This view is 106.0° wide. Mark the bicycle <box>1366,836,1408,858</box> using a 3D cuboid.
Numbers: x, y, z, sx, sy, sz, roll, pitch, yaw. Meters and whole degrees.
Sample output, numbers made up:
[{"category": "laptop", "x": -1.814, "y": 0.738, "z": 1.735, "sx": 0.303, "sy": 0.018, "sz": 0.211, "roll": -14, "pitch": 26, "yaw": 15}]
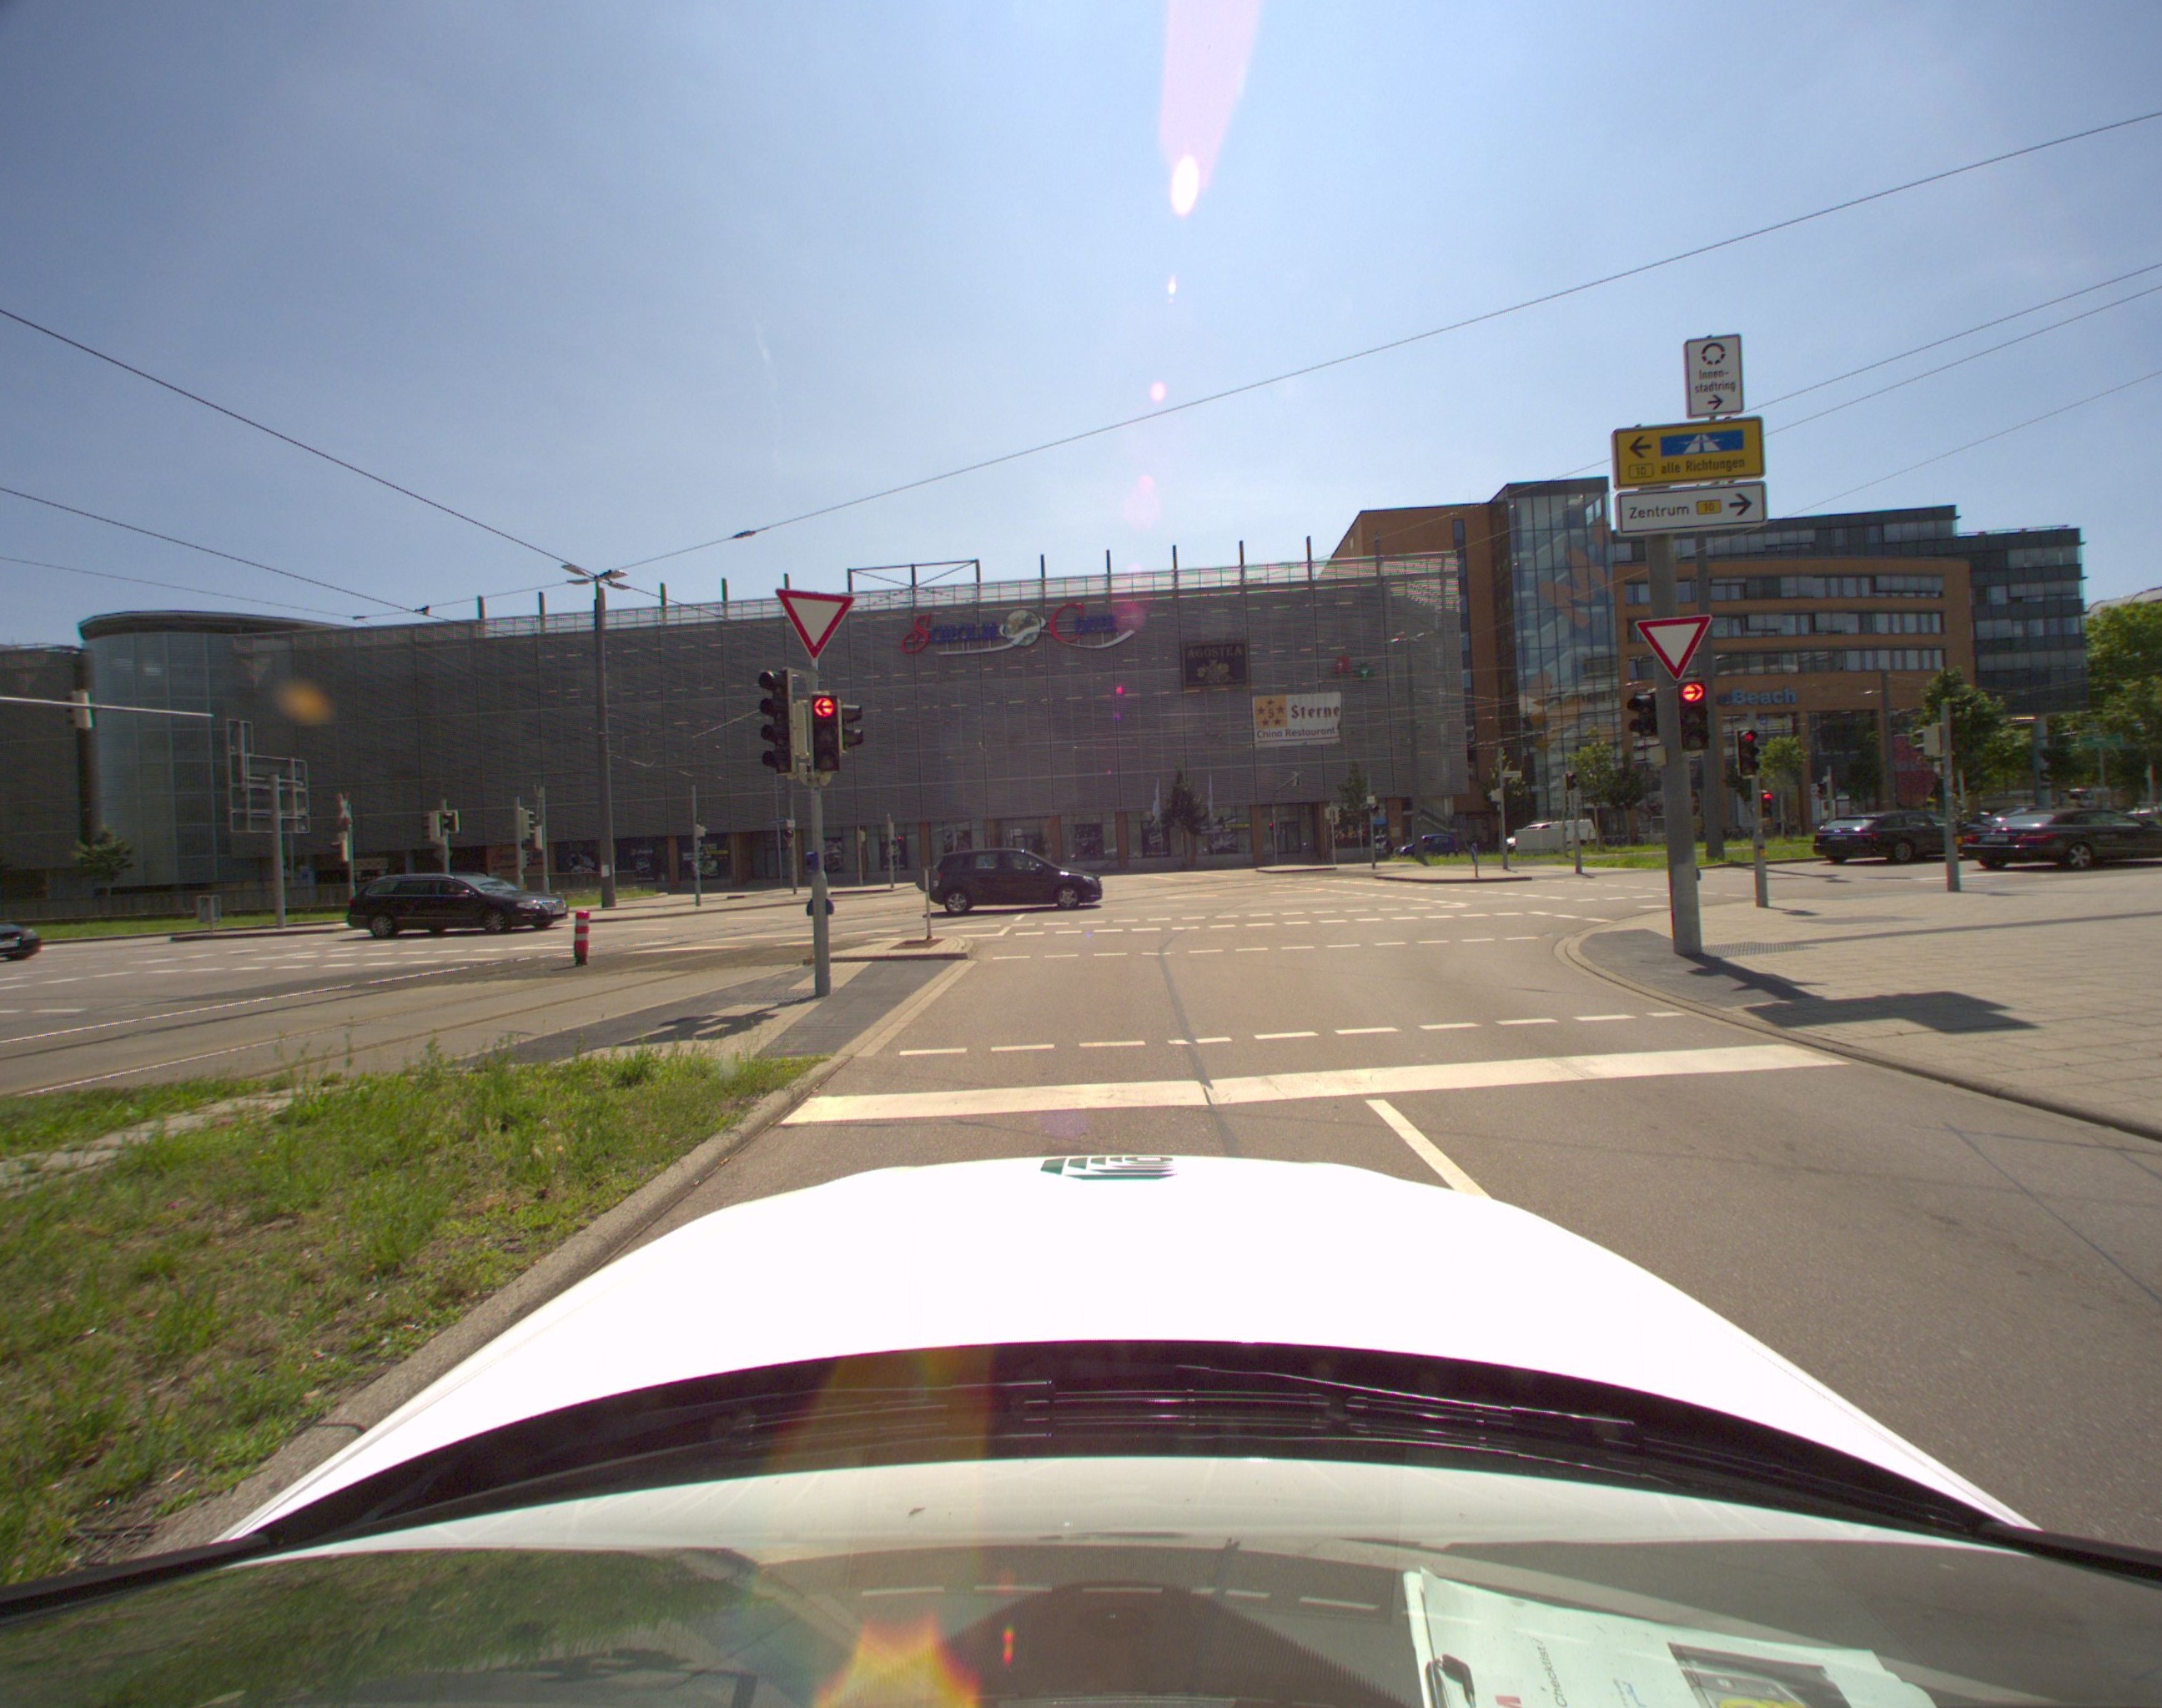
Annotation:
[{"category": "bicycle", "x": 22.684, "y": -0.517, "z": 60.375, "sx": 2.835, "sy": 1.557, "sz": 0.706, "roll": -2, "pitch": 0, "yaw": 5}]

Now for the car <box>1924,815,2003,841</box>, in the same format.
[{"category": "car", "x": 58.521, "y": -1.706, "z": 54.012, "sx": 3.987, "sy": 1.530, "sz": 1.678, "roll": -2, "pitch": 1, "yaw": -10}]

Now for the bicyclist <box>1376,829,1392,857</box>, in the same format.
[{"category": "bicyclist", "x": 22.457, "y": -0.792, "z": 60.364, "sx": 0.908, "sy": 2.013, "sz": 0.749, "roll": -2, "pitch": 0, "yaw": 4}]

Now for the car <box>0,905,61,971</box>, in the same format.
[{"category": "car", "x": -25.419, "y": 1.918, "z": 17.701, "sx": 4.292, "sy": 1.342, "sz": 1.635, "roll": -2, "pitch": 1, "yaw": -1}]

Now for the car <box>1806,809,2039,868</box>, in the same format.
[{"category": "car", "x": 23.986, "y": -0.437, "z": 23.328, "sx": 4.749, "sy": 1.460, "sz": 1.888, "roll": -2, "pitch": 1, "yaw": 0}]

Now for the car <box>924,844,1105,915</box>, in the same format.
[{"category": "car", "x": -1.602, "y": 0.600, "z": 20.628, "sx": 4.308, "sy": 1.553, "sz": 1.999, "roll": -2, "pitch": 1, "yaw": -2}]

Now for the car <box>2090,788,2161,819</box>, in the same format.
[{"category": "car", "x": 74.618, "y": -3.582, "z": 57.788, "sx": 3.984, "sy": 2.013, "sz": 1.995, "roll": -2, "pitch": 1, "yaw": -7}]

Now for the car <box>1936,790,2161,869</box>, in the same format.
[{"category": "car", "x": 23.854, "y": -0.605, "z": 19.606, "sx": 4.537, "sy": 1.576, "sz": 1.999, "roll": -4, "pitch": 0, "yaw": -2}]

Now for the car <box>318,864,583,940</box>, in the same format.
[{"category": "car", "x": -15.461, "y": 1.141, "z": 20.207, "sx": 4.844, "sy": 1.580, "sz": 1.998, "roll": -2, "pitch": 1, "yaw": -4}]

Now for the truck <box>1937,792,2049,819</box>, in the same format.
[{"category": "truck", "x": 112.057, "y": -5.938, "z": 100.354, "sx": 1.999, "sy": 2.809, "sz": 9.185, "roll": -2, "pitch": 1, "yaw": -17}]

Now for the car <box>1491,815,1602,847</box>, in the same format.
[{"category": "car", "x": 27.117, "y": -1.326, "z": 47.541, "sx": 5.450, "sy": 1.668, "sz": 1.998, "roll": -2, "pitch": 1, "yaw": -3}]

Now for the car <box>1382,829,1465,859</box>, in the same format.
[{"category": "car", "x": 19.707, "y": -0.571, "z": 47.014, "sx": 3.973, "sy": 1.538, "sz": 1.882, "roll": -2, "pitch": 1, "yaw": 0}]
